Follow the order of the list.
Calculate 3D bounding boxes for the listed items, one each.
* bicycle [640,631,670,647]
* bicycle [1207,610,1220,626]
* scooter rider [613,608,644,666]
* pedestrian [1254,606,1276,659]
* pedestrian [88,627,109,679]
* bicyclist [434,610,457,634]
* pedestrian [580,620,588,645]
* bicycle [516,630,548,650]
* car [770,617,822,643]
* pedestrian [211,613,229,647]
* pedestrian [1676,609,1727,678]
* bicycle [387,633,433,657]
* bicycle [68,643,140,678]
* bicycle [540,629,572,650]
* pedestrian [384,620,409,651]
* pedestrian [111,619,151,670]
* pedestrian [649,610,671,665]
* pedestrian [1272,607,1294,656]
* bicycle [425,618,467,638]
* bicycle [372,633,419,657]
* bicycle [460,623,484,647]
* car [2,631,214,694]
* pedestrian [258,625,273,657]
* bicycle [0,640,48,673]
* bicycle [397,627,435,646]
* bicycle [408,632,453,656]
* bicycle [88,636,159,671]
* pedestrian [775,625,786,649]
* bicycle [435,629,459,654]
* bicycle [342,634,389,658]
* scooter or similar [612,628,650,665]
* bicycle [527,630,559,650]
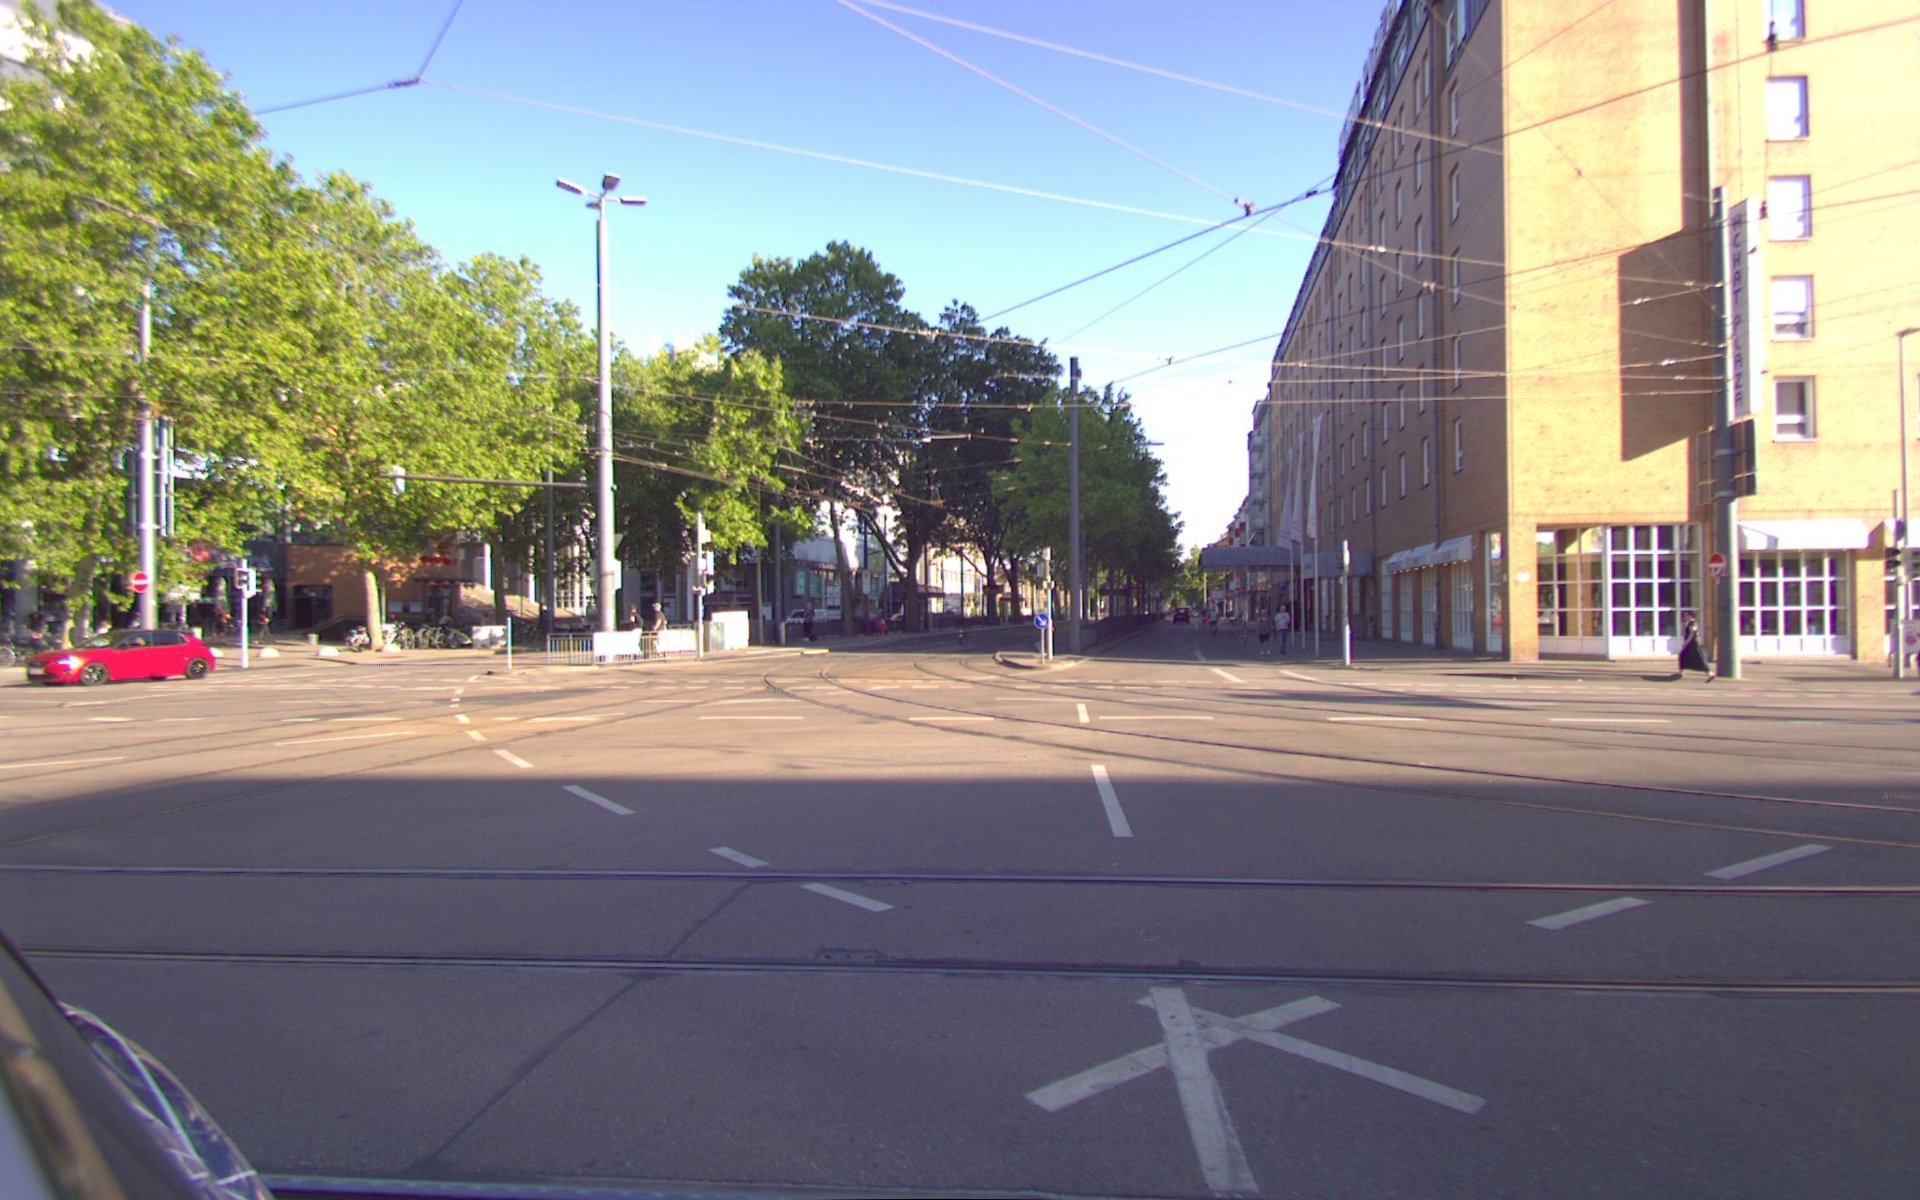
[{"bbox_3d":[-20.123,2.574,66.758,1.930,1.072,0.575,-1,-1,18],"label":"bicycle"},{"bbox_3d":[15.999,1.129,63.967,0.607,1.026,2.147,-1,-1,10],"label":"bicycle"},{"bbox_3d":[-10.724,1.200,32.775,0.757,1.847,0.585,-1,-1,19],"label":"scooter rider"},{"bbox_3d":[11.187,1.177,37.100,0.644,1.909,0.739,-1,-1,25],"label":"pedestrian"},{"bbox_3d":[-26.114,1.604,30.671,0.477,1.550,0.573,0,-2,-41],"label":"pedestrian"},{"bbox_3d":[-28.986,1.255,57.046,0.674,1.355,0.946,-1,-2,40],"label":"bicyclist"},{"bbox_3d":[-23.744,2.049,63.901,0.403,1.567,0.449,0,-1,-16],"label":"pedestrian"},{"bbox_3d":[-23.668,2.216,56.001,0.573,1.072,1.937,-1,-1,14],"label":"bicycle"},{"bbox_3d":[-13.179,2.381,81.645,1.959,1.960,4.929,-2,-1,22],"label":"car"},{"bbox_3d":[-37.356,1.518,51.065,0.541,1.682,0.565,-1,-1,29],"label":"pedestrian"},{"bbox_3d":[17.096,0.995,23.336,0.869,1.565,0.538,-2,-2,42],"label":"pedestrian"},{"bbox_3d":[-25.560,2.074,47.079,0.776,1.072,1.937,-1,-1,14],"label":"bicycle"},{"bbox_3d":[-29.684,2.099,35.136,0.767,1.138,1.838,-1,-1,10],"label":"bicycle"},{"bbox_3d":[-22.143,2.162,55.518,0.573,1.072,1.937,-1,-1,14],"label":"bicycle"},{"bbox_3d":[-28.722,1.806,51.559,0.757,1.554,0.873,-1,-1,9],"label":"pedestrian"},{"bbox_3d":[-29.891,1.595,36.495,0.726,1.778,0.886,-3,-2,23],"label":"pedestrian"},{"bbox_3d":[-9.961,1.229,33.632,0.561,1.810,0.673,0,-1,-2],"label":"pedestrian"},{"bbox_3d":[11.731,1.126,36.797,0.644,1.756,0.699,-2,-2,25],"label":"pedestrian"},{"bbox_3d":[-28.964,1.557,57.051,0.695,1.075,1.987,-1,-1,40],"label":"bicycle"},{"bbox_3d":[-26.358,2.102,47.291,0.776,1.072,1.937,-1,-1,14],"label":"bicycle"},{"bbox_3d":[-24.535,1.747,50.858,0.770,1.198,3.568,0,-1,-31],"label":"bicycle"},{"bbox_3d":[-21.976,1.577,26.309,1.678,1.439,3.977,-2,-1,18],"label":"car"},{"bbox_3d":[-36.646,2.165,53.419,0.571,1.682,0.536,-2,-2,44],"label":"pedestrian"},{"bbox_3d":[-31.429,1.869,33.599,0.543,1.044,1.692,-1,-1,14],"label":"bicycle"},{"bbox_3d":[-31.681,2.101,58.956,1.993,1.075,0.694,-1,-1,11],"label":"bicycle"},{"bbox_3d":[-24.564,2.045,47.002,0.776,1.072,1.937,-1,-1,14],"label":"bicycle"},{"bbox_3d":[-28.875,1.824,34.967,0.767,1.138,1.838,-1,-1,10],"label":"bicycle"},{"bbox_3d":[-7.765,1.608,43.742,0.401,1.040,0.378,-1,-1,7],"label":"pedestrian"},{"bbox_3d":[-25.335,2.025,49.977,0.770,1.198,3.568,0,-1,-31],"label":"bicycle"},{"bbox_3d":[-27.622,2.132,47.069,0.776,1.072,1.937,-1,-1,14],"label":"bicycle"},{"bbox_3d":[-10.656,1.504,32.752,1.151,1.188,0.452,-1,-1,20],"label":"scooter or similar"},{"bbox_3d":[-22.940,2.189,55.696,0.573,1.072,1.937,-1,-1,14],"label":"bicycle"}]
